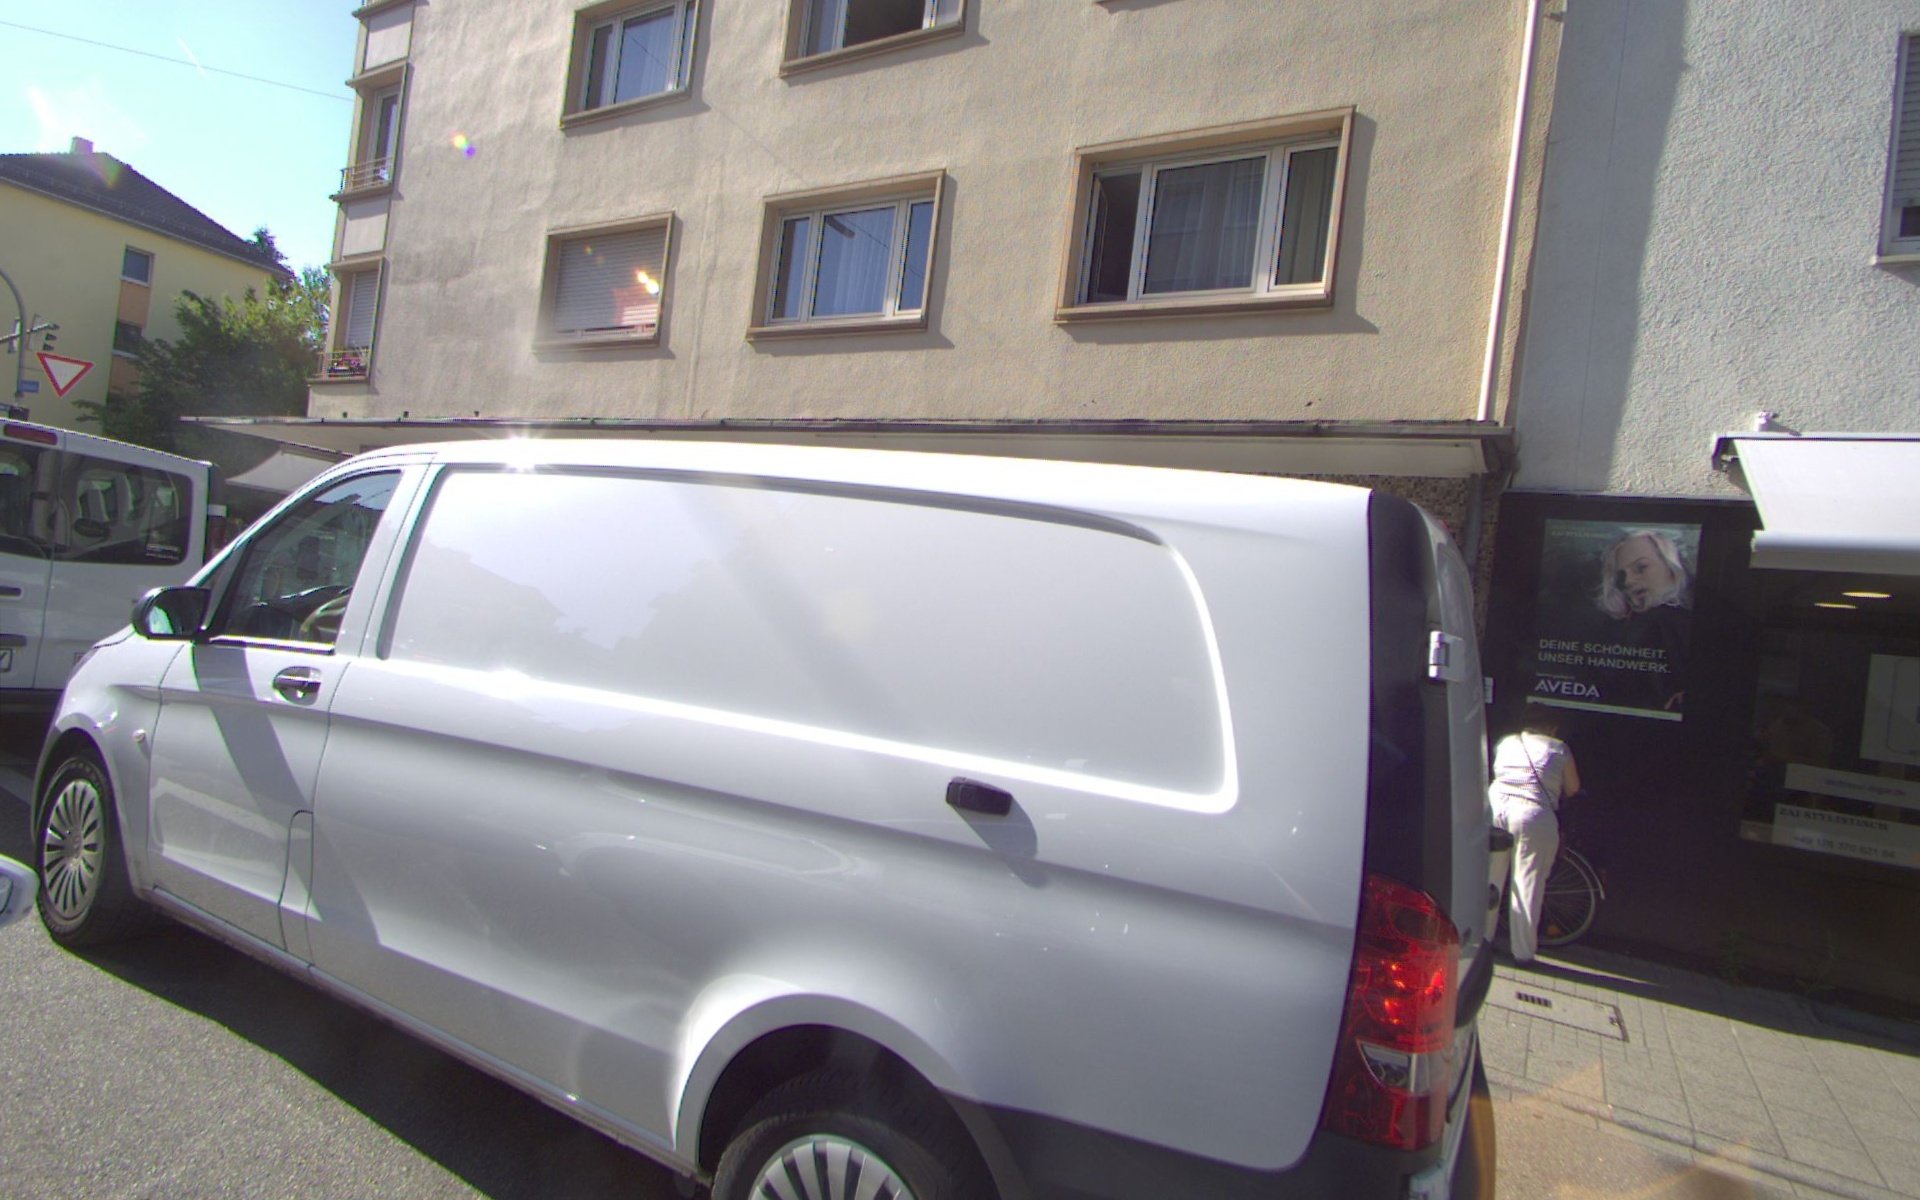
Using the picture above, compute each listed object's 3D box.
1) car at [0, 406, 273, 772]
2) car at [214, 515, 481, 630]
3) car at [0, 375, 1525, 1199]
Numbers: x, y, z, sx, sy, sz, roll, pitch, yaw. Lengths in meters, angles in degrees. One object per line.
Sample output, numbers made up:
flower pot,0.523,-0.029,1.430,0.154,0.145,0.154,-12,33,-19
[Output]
car,-7.147,-0.252,6.925,4.972,1.962,1.973,6,-2,32
car,-11.900,-0.467,19.817,1.795,1.682,3.993,7,-1,32
car,-0.960,0.491,3.322,4.751,1.832,1.972,6,-1,31
